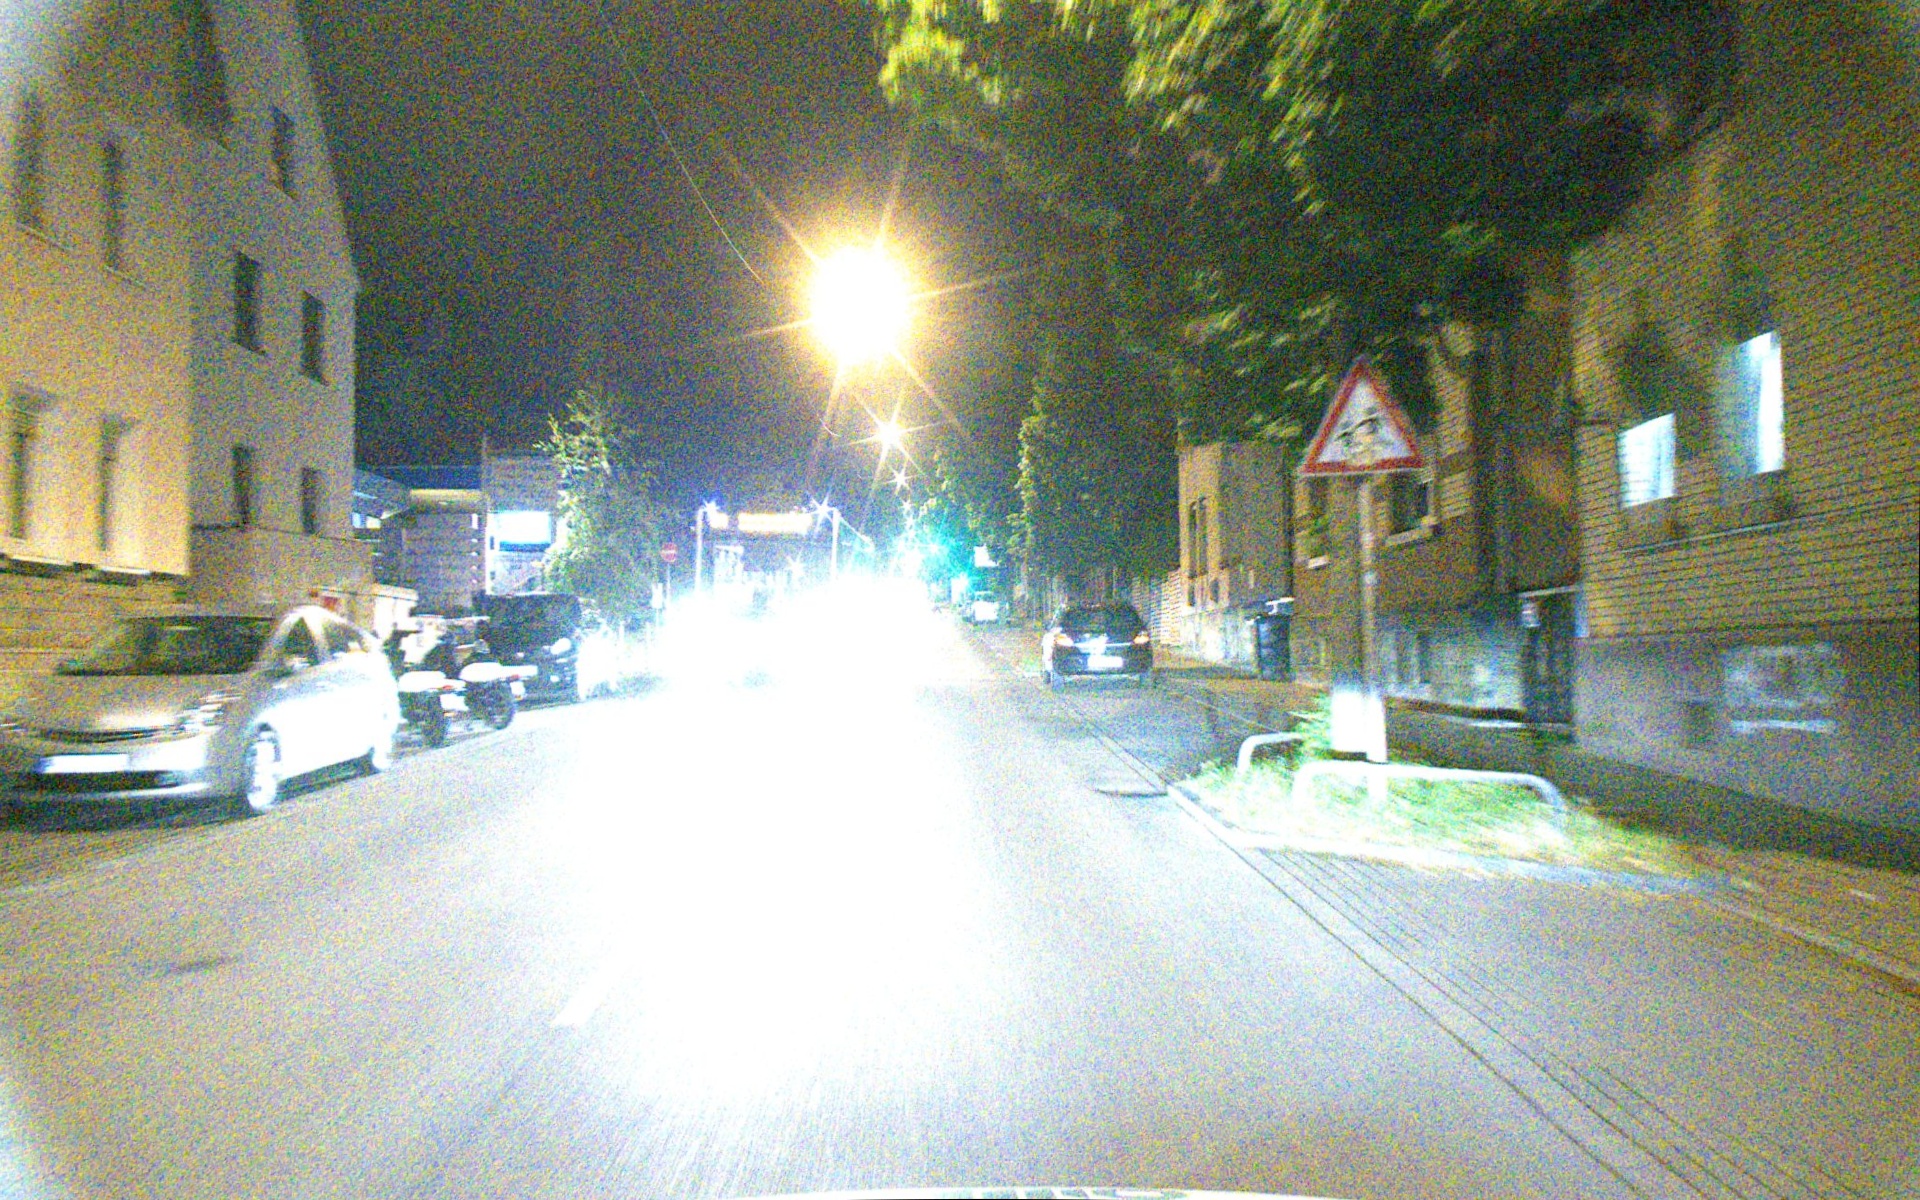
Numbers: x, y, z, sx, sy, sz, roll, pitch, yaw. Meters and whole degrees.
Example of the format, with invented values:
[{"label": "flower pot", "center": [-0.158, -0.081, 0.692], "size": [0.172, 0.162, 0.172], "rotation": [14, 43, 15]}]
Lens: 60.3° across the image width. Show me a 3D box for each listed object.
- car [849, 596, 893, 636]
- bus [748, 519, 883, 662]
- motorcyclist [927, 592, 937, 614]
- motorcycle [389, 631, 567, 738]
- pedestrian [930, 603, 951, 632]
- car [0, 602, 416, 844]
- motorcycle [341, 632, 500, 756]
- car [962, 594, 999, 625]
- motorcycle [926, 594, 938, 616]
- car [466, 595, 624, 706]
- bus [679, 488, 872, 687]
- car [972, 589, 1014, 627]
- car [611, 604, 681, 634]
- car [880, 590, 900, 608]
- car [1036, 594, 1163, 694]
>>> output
[{"label": "car", "center": [-3.428, 0.599, 64.080], "size": [1.612, 1.447, 3.869], "rotation": [-1, 0, -2]}, {"label": "bus", "center": [-3.475, -0.236, 41.569], "size": [2.780, 3.233, 7.659], "rotation": [1, 0, -1]}, {"label": "motorcyclist", "center": [-2.235, 0.234, 132.129], "size": [0.831, 1.783, 0.805], "rotation": [1, -1, -1]}, {"label": "motorcycle", "center": [-5.594, 0.949, 19.133], "size": [2.162, 1.150, 0.714], "rotation": [-1, 0, 32]}, {"label": "pedestrian", "center": [-1.183, 1.050, 99.871], "size": [0.914, 1.729, 0.759], "rotation": [3, 0, -30]}, {"label": "car", "center": [-5.732, 0.805, 12.909], "size": [1.670, 1.517, 4.226], "rotation": [-2, 0, -2]}, {"label": "motorcycle", "center": [-5.605, 0.931, 17.114], "size": [0.710, 1.167, 2.174], "rotation": [-1, 0, -43]}, {"label": "car", "center": [1.100, 0.501, 90.467], "size": [1.831, 1.553, 4.149], "rotation": [-2, 0, -1]}, {"label": "motorcycle", "center": [-2.232, 0.408, 131.993], "size": [0.912, 1.783, 2.624], "rotation": [1, -1, -1]}, {"label": "car", "center": [-6.022, 0.722, 24.282], "size": [1.605, 1.524, 2.765], "rotation": [0, -1, 0]}, {"label": "bus", "center": [-3.311, -0.219, 32.468], "size": [2.780, 3.233, 10.496], "rotation": [1, 0, -1]}, {"label": "car", "center": [1.509, 0.350, 76.932], "size": [1.775, 1.622, 4.272], "rotation": [-2, 0, -1]}, {"label": "car", "center": [-16.261, 0.983, 85.560], "size": [3.197, 1.478, 1.790], "rotation": [0, -1, 31]}, {"label": "car", "center": [-7.153, -0.053, 168.279], "size": [1.905, 1.747, 3.999], "rotation": [1, -1, -1]}, {"label": "car", "center": [2.316, 0.693, 28.316], "size": [1.727, 1.502, 4.079], "rotation": [-2, 0, -1]}]
